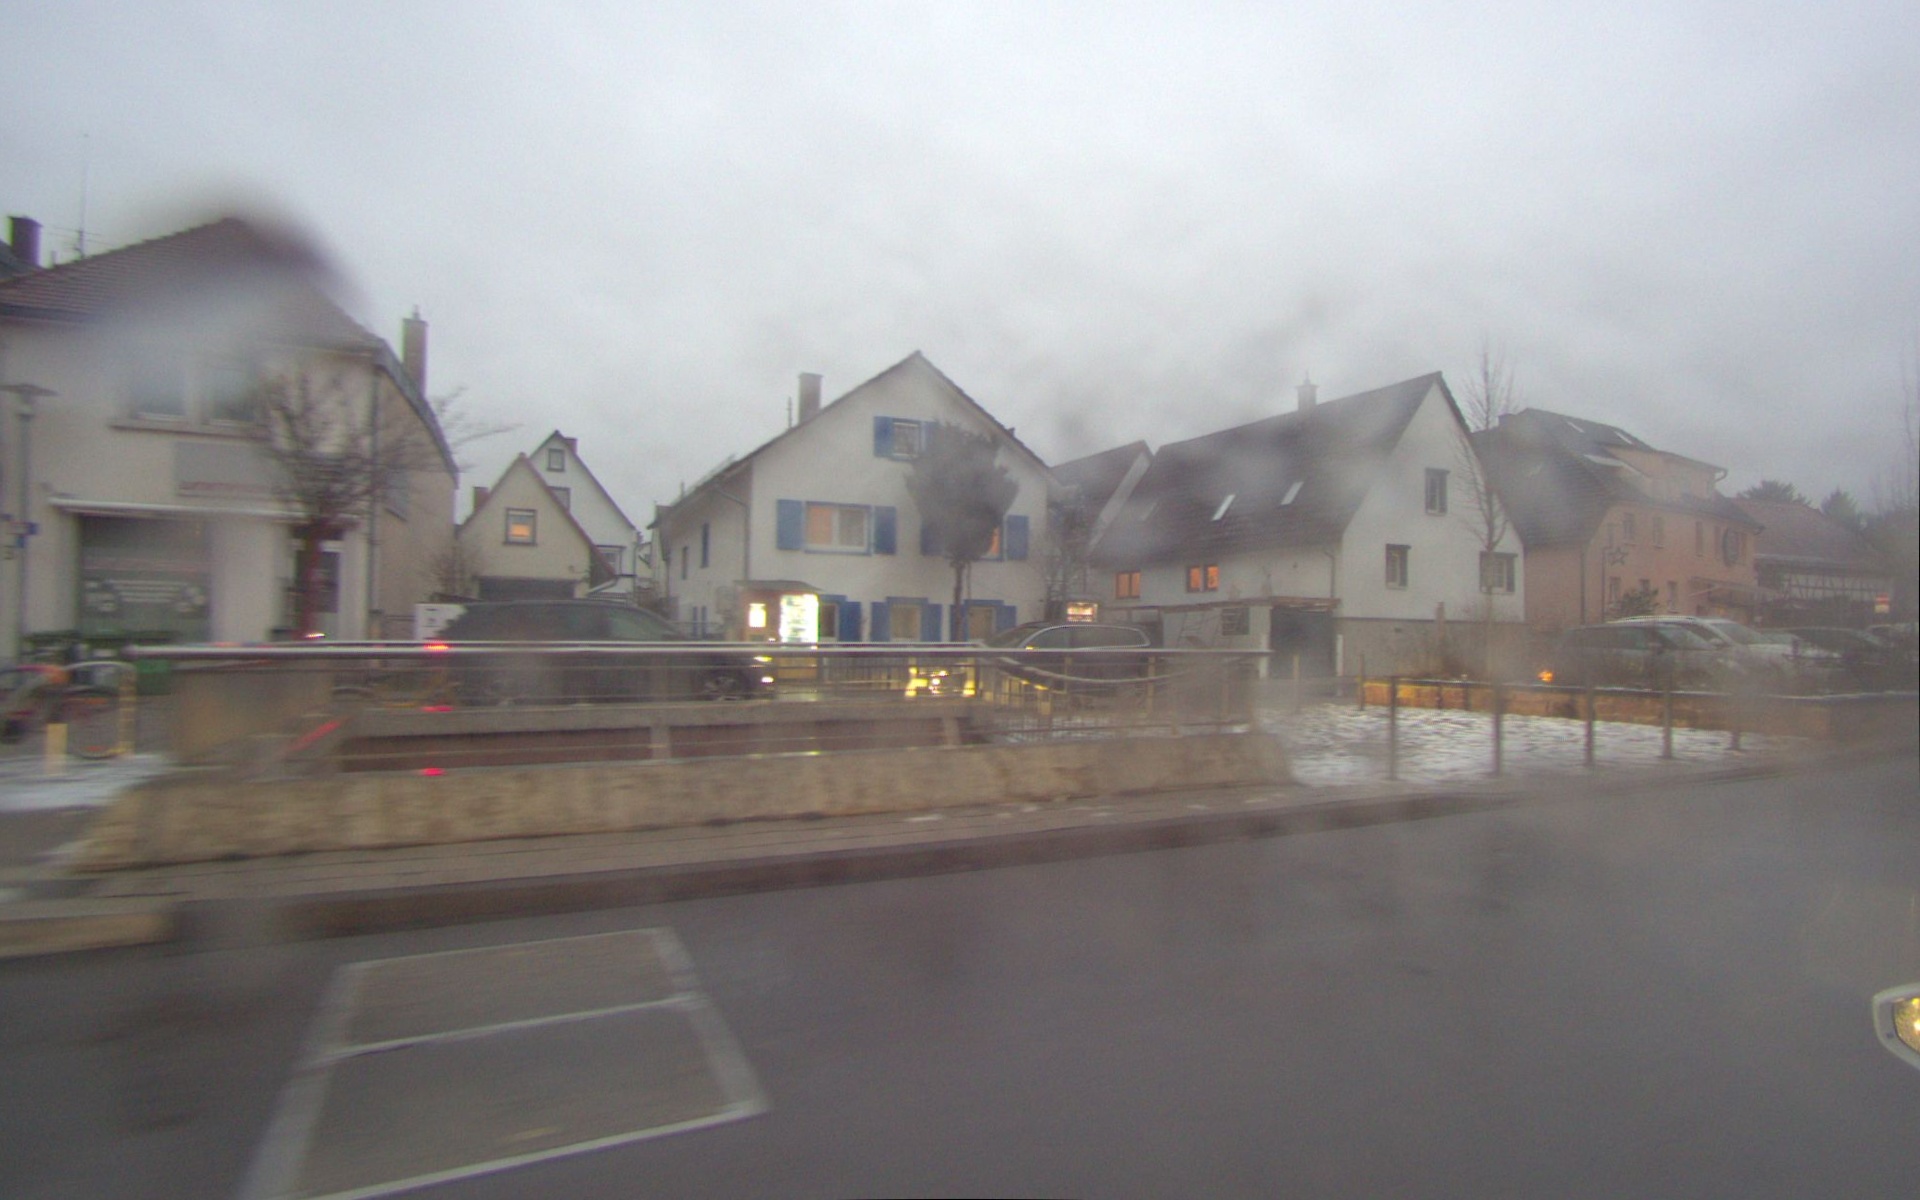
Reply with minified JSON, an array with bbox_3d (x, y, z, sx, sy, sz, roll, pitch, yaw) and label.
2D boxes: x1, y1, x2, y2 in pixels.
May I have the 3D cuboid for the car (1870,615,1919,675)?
[{"bbox_3d":[28.924,1.323,28.245,1.978,1.689,4.600,2,-1,-32],"label":"car"}]

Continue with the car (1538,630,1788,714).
[{"bbox_3d":[12.774,1.247,18.444,1.582,1.390,3.428,1,-2,-30],"label":"car"}]

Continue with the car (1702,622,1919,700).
[{"bbox_3d":[19.774,1.367,22.965,1.856,1.517,4.112,4,-1,-27],"label":"car"}]

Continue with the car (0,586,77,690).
[{"bbox_3d":[-18.441,0.689,18.956,1.491,1.877,3.411,2,-2,-21],"label":"car"}]

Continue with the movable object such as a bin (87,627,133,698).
[{"bbox_3d":[-13.848,1.015,16.376,0.447,1.135,0.286,4,-1,-25],"label":"movable object such as a bin"}]

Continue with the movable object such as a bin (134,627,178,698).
[{"bbox_3d":[-13.327,1.034,16.650,0.447,1.157,0.286,4,-1,-25],"label":"movable object such as a bin"}]

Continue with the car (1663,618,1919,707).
[{"bbox_3d":[17.394,1.239,21.100,1.566,1.629,4.079,2,-1,-26],"label":"car"}]

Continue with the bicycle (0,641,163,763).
[{"bbox_3d":[-8.139,0.882,8.822,1.709,1.023,0.470,1,-2,-14],"label":"bicycle"}]

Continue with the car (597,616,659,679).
[{"bbox_3d":[-10.584,1.523,31.899,1.651,1.865,3.647,0,-3,-22],"label":"car"}]

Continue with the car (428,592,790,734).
[{"bbox_3d":[-4.785,0.842,13.989,4.502,1.723,1.751,1,-3,-25],"label":"car"}]

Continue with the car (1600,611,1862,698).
[{"bbox_3d":[15.124,1.021,19.938,1.690,1.543,3.785,2,-1,-23],"label":"car"}]

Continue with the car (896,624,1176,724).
[{"bbox_3d":[1.331,1.199,17.129,4.514,1.502,1.796,1,-3,-28],"label":"car"}]

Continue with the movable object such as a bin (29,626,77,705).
[{"bbox_3d":[-14.526,1.046,16.096,0.447,1.225,0.286,4,-1,-25],"label":"movable object such as a bin"}]
